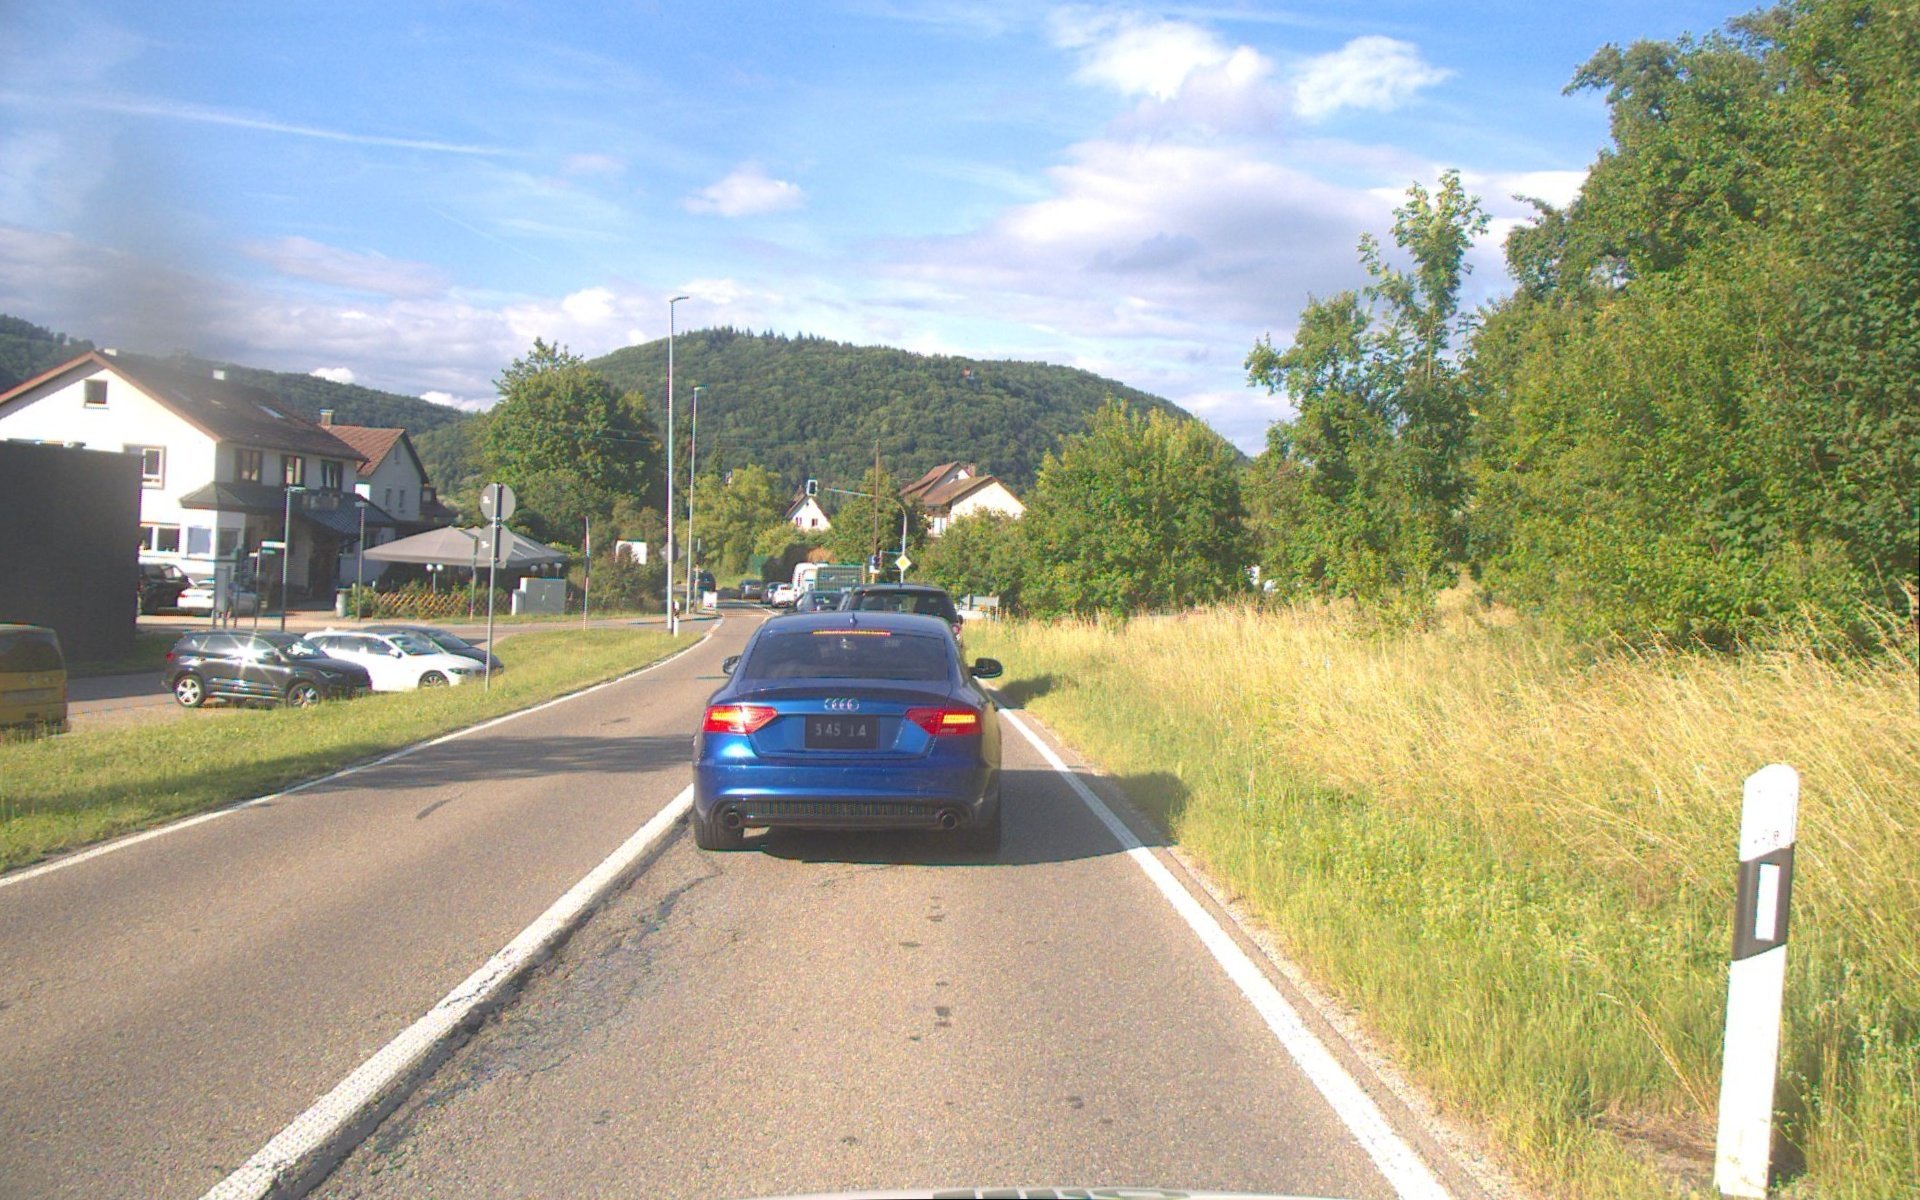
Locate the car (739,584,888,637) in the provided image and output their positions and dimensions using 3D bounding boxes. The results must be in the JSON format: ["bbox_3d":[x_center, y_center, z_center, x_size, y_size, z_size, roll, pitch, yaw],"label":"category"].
[{"bbox_3d":[-4.299,0.311,48.762,3.903,1.467,1.921,1,-1,18],"label":"car"}]

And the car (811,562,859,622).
[{"bbox_3d":[-4.945,-0.290,64.967,1.713,2.234,3.994,1,0,-6],"label":"car"}]

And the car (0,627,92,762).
[{"bbox_3d":[-15.862,1.355,25.089,4.512,1.900,2.002,1,-1,13],"label":"car"}]

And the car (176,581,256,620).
[{"bbox_3d":[-29.580,0.021,65.878,1.524,1.475,3.998,1,0,-3],"label":"car"}]

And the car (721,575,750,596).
[{"bbox_3d":[-16.757,-1.096,123.537,1.669,1.516,3.512,1,0,-15],"label":"car"}]

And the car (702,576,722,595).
[{"bbox_3d":[-22.328,-1.286,148.921,1.597,1.604,3.668,1,0,-12],"label":"car"}]

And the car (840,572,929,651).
[{"bbox_3d":[-1.676,0.270,38.038,1.767,1.668,4.463,1,0,1],"label":"car"}]

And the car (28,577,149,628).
[{"bbox_3d":[-30.762,0.094,58.493,3.400,1.691,1.734,1,-1,-13],"label":"car"}]

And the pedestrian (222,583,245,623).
[{"bbox_3d":[-28.001,0.103,63.778,0.596,1.529,0.589,1,-1,-3],"label":"pedestrian"}]

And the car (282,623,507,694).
[{"bbox_3d":[-13.444,1.365,39.416,4.711,1.520,1.882,1,-1,9],"label":"car"}]

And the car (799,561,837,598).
[{"bbox_3d":[-6.880,-0.966,79.831,1.713,1.668,3.994,1,0,-6],"label":"car"}]

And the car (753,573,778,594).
[{"bbox_3d":[-14.616,-1.214,124.302,1.666,1.516,3.519,1,0,-9],"label":"car"}]

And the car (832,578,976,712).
[{"bbox_3d":[-0.696,0.591,23.067,1.710,1.668,4.001,1,0,2],"label":"car"}]

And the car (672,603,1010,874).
[{"bbox_3d":[-0.568,0.741,10.696,1.758,1.412,4.001,0,0,2],"label":"car"}]

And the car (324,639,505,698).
[{"bbox_3d":[-13.700,1.714,41.658,3.903,1.333,1.762,1,-1,5],"label":"car"}]

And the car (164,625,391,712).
[{"bbox_3d":[-14.386,1.419,34.986,3.939,1.666,2.002,1,-1,9],"label":"car"}]

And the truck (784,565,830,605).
[{"bbox_3d":[-7.912,-0.739,85.170,1.667,1.988,5.905,1,0,-11],"label":"truck"}]
